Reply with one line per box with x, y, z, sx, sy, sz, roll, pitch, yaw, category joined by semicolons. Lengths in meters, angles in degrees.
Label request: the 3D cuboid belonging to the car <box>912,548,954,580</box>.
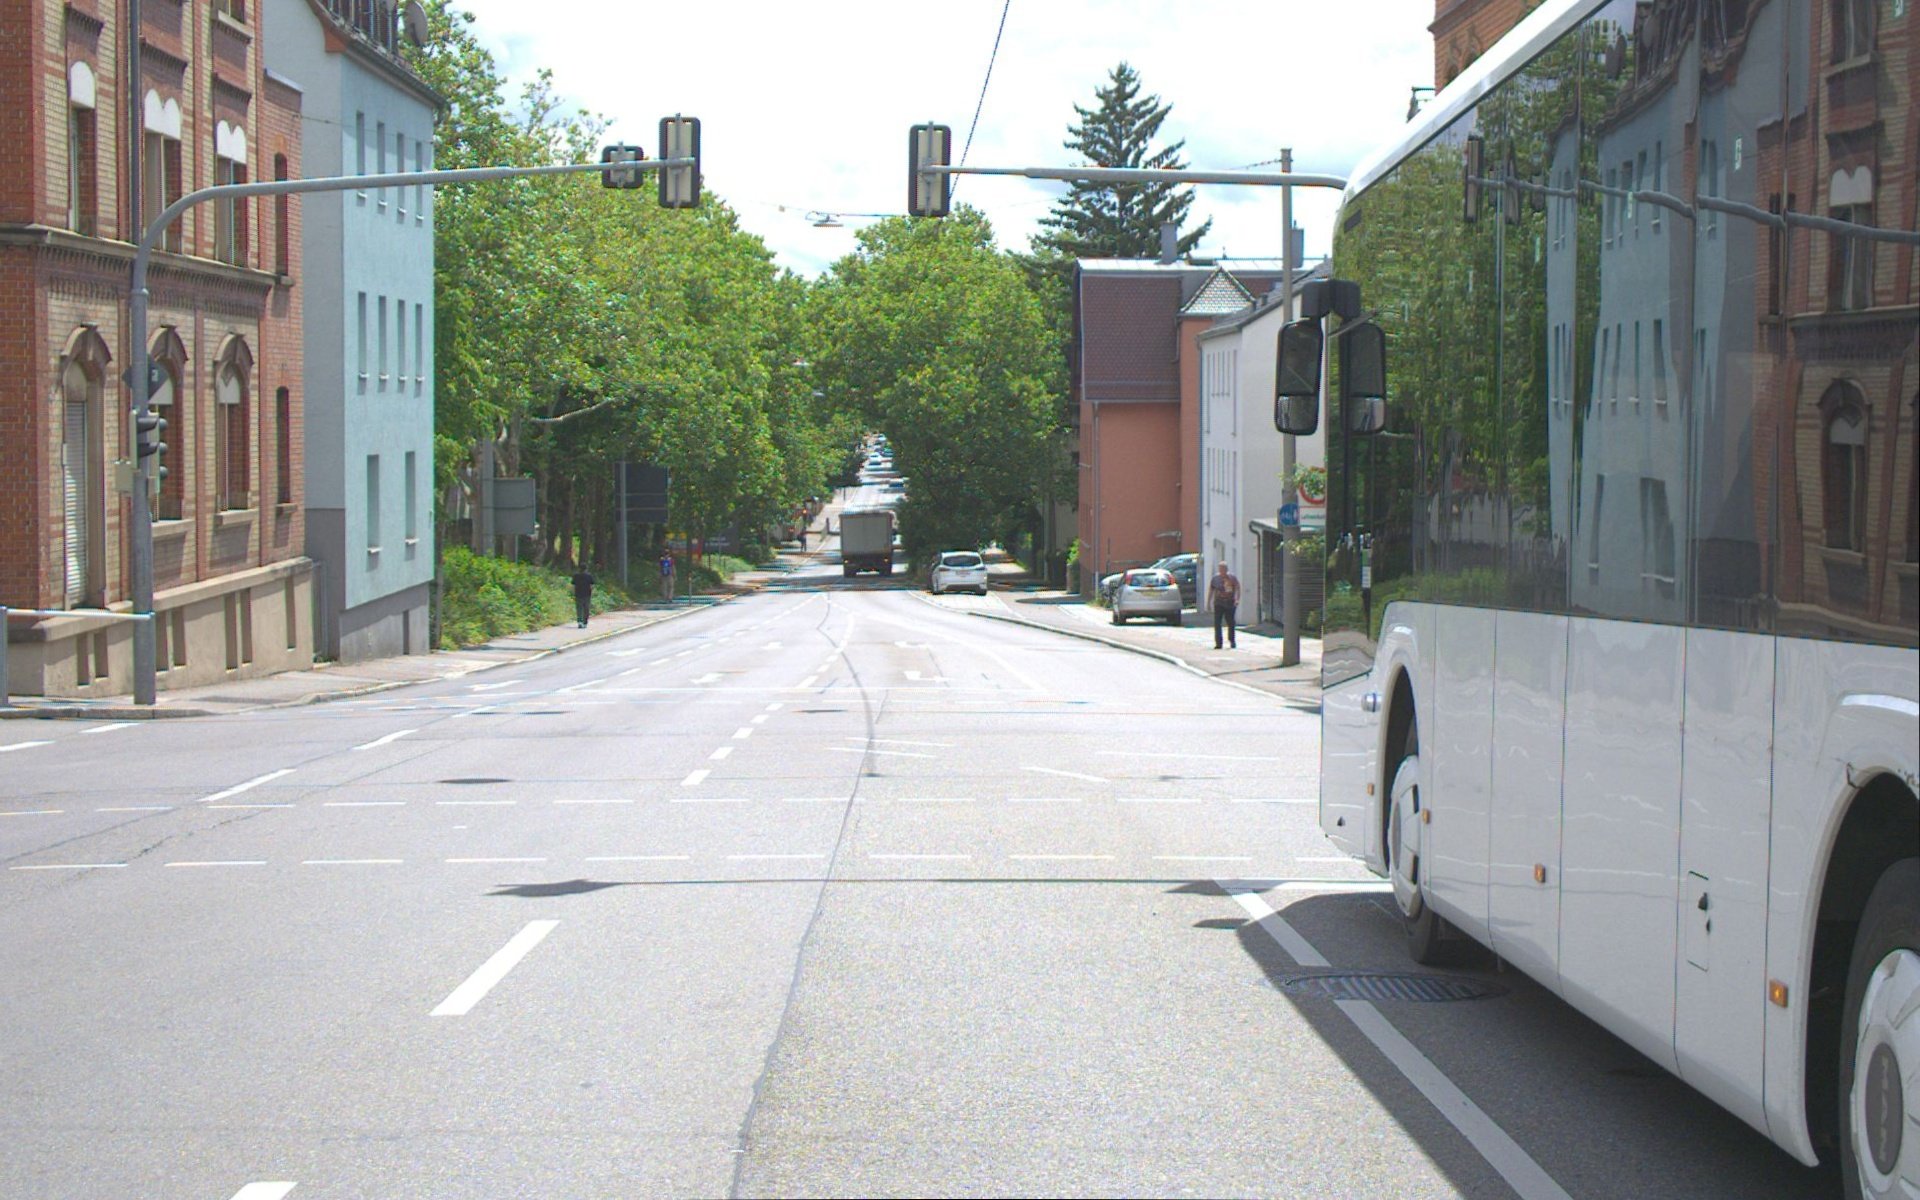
-1.195;-1.611;153.932;1.794;1.405;4.419;1;1;0;car

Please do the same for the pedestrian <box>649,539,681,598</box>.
-10.087;-1.092;117.599;0.995;2.007;1.189;-1;1;-1;pedestrian

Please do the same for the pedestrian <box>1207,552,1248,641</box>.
5.332;-0.074;68.512;0.738;1.744;0.619;-1;1;-1;pedestrian

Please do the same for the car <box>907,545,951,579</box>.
-1.292;-1.610;146.244;1.794;1.405;4.419;1;1;0;car

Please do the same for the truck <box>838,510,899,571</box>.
-4.796;-3.101;178.228;2.926;3.070;7.886;-1;1;-3;truck

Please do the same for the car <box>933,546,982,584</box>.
-0.106;-1.327;129.446;1.794;1.405;4.000;1;1;-1;car

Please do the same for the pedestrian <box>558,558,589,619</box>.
-9.911;-0.302;88.219;0.729;1.560;0.561;0;1;-1;pedestrian

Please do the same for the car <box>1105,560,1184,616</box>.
4.977;-0.347;93.071;1.794;1.405;4.001;-1;1;-2;car

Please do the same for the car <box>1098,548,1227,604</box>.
6.652;-0.799;113.169;3.986;1.751;2.000;-1;1;-5;car

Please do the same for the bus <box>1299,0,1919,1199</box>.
2.930;-0.249;9.248;2.672;3.145;12.462;0;1;-1;bus
